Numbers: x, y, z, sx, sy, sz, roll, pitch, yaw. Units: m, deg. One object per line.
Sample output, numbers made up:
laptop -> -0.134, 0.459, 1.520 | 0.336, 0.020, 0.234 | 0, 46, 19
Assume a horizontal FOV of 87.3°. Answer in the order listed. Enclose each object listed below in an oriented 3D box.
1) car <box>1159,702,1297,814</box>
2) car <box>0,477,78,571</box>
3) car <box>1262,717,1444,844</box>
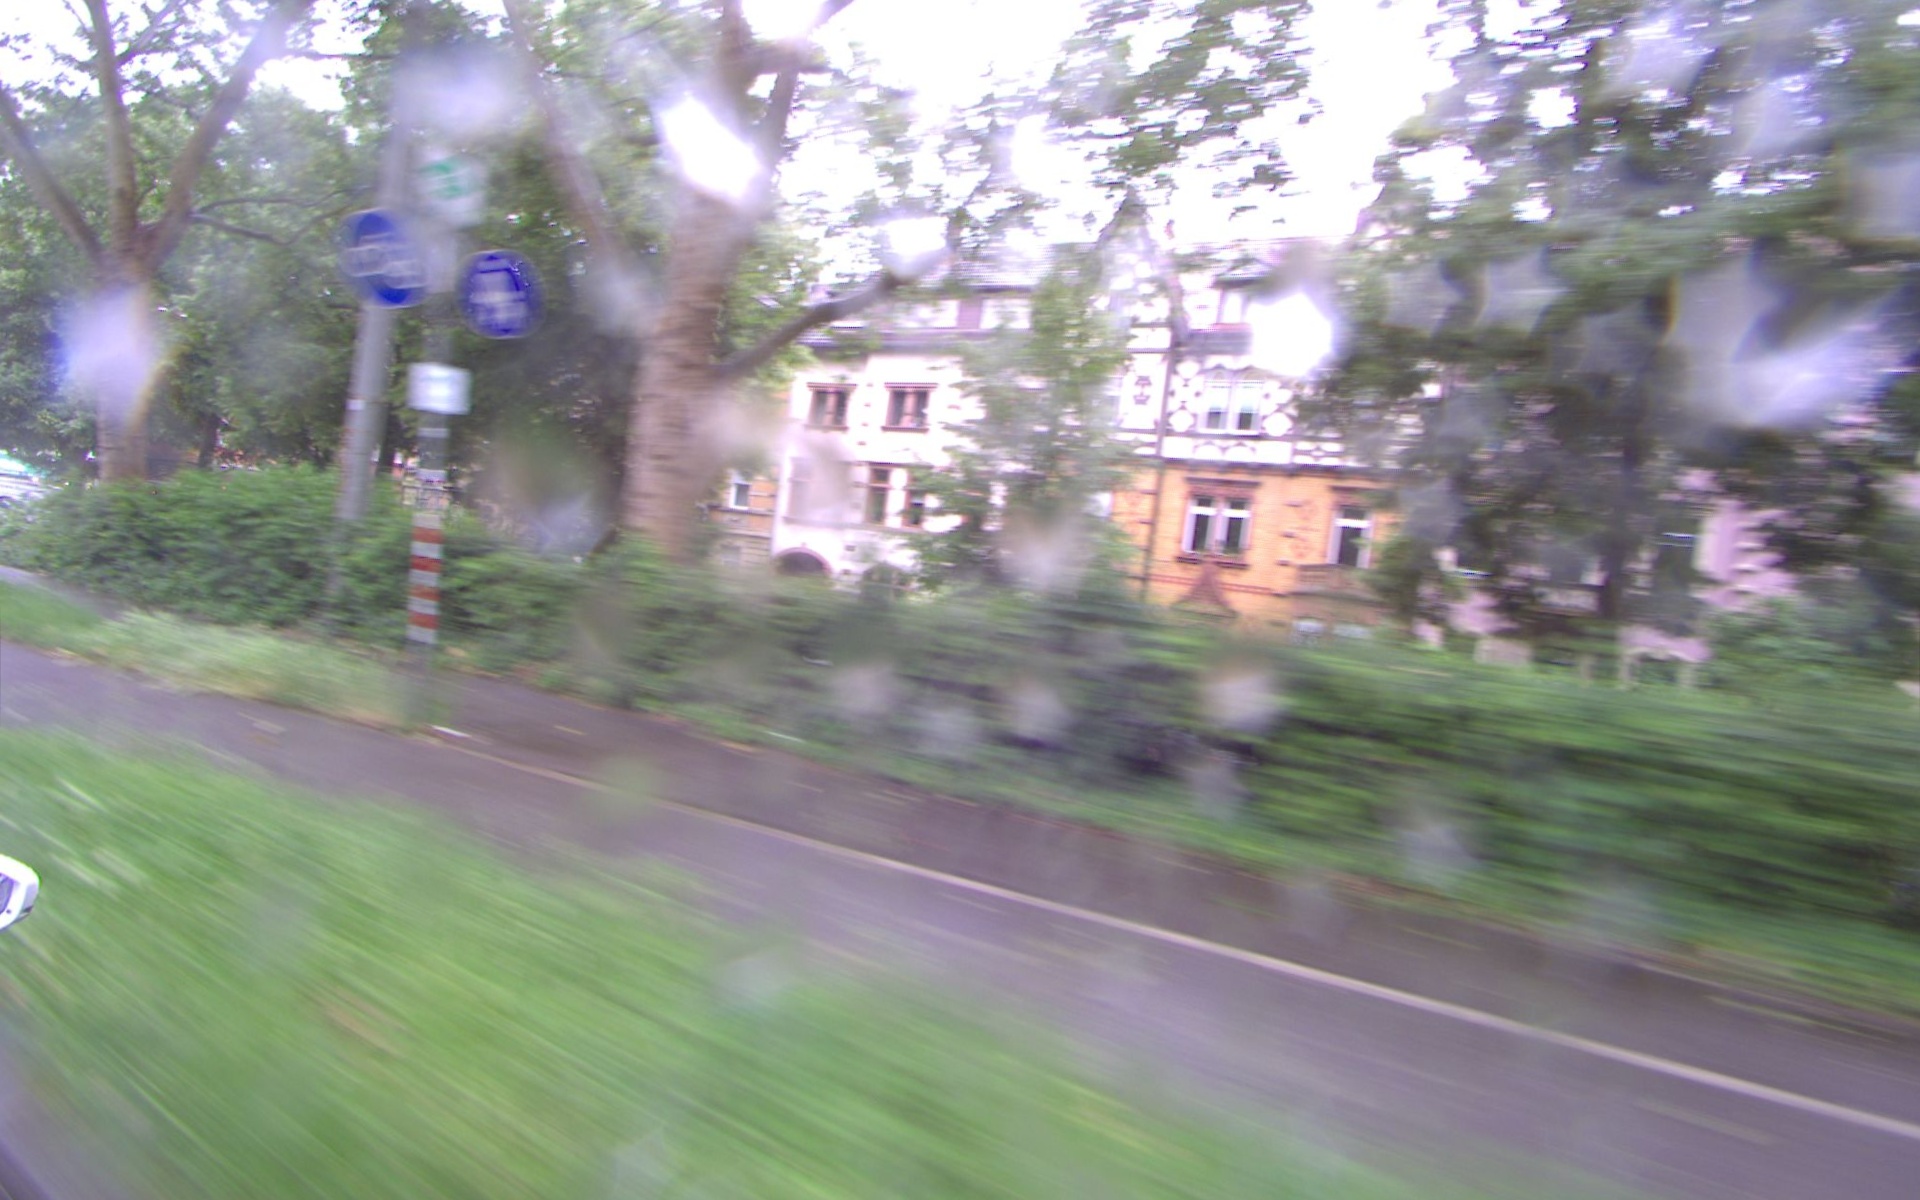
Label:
car -> 5.275, 3.080, 20.273 | 1.591, 1.434, 3.629 | 7, 1, -1
car -> -30.400, -2.563, 31.540 | 5.677, 2.565, 2.182 | 8, 2, 28
car -> 7.157, 3.260, 18.762 | 1.693, 1.434, 3.754 | 7, 1, -1
